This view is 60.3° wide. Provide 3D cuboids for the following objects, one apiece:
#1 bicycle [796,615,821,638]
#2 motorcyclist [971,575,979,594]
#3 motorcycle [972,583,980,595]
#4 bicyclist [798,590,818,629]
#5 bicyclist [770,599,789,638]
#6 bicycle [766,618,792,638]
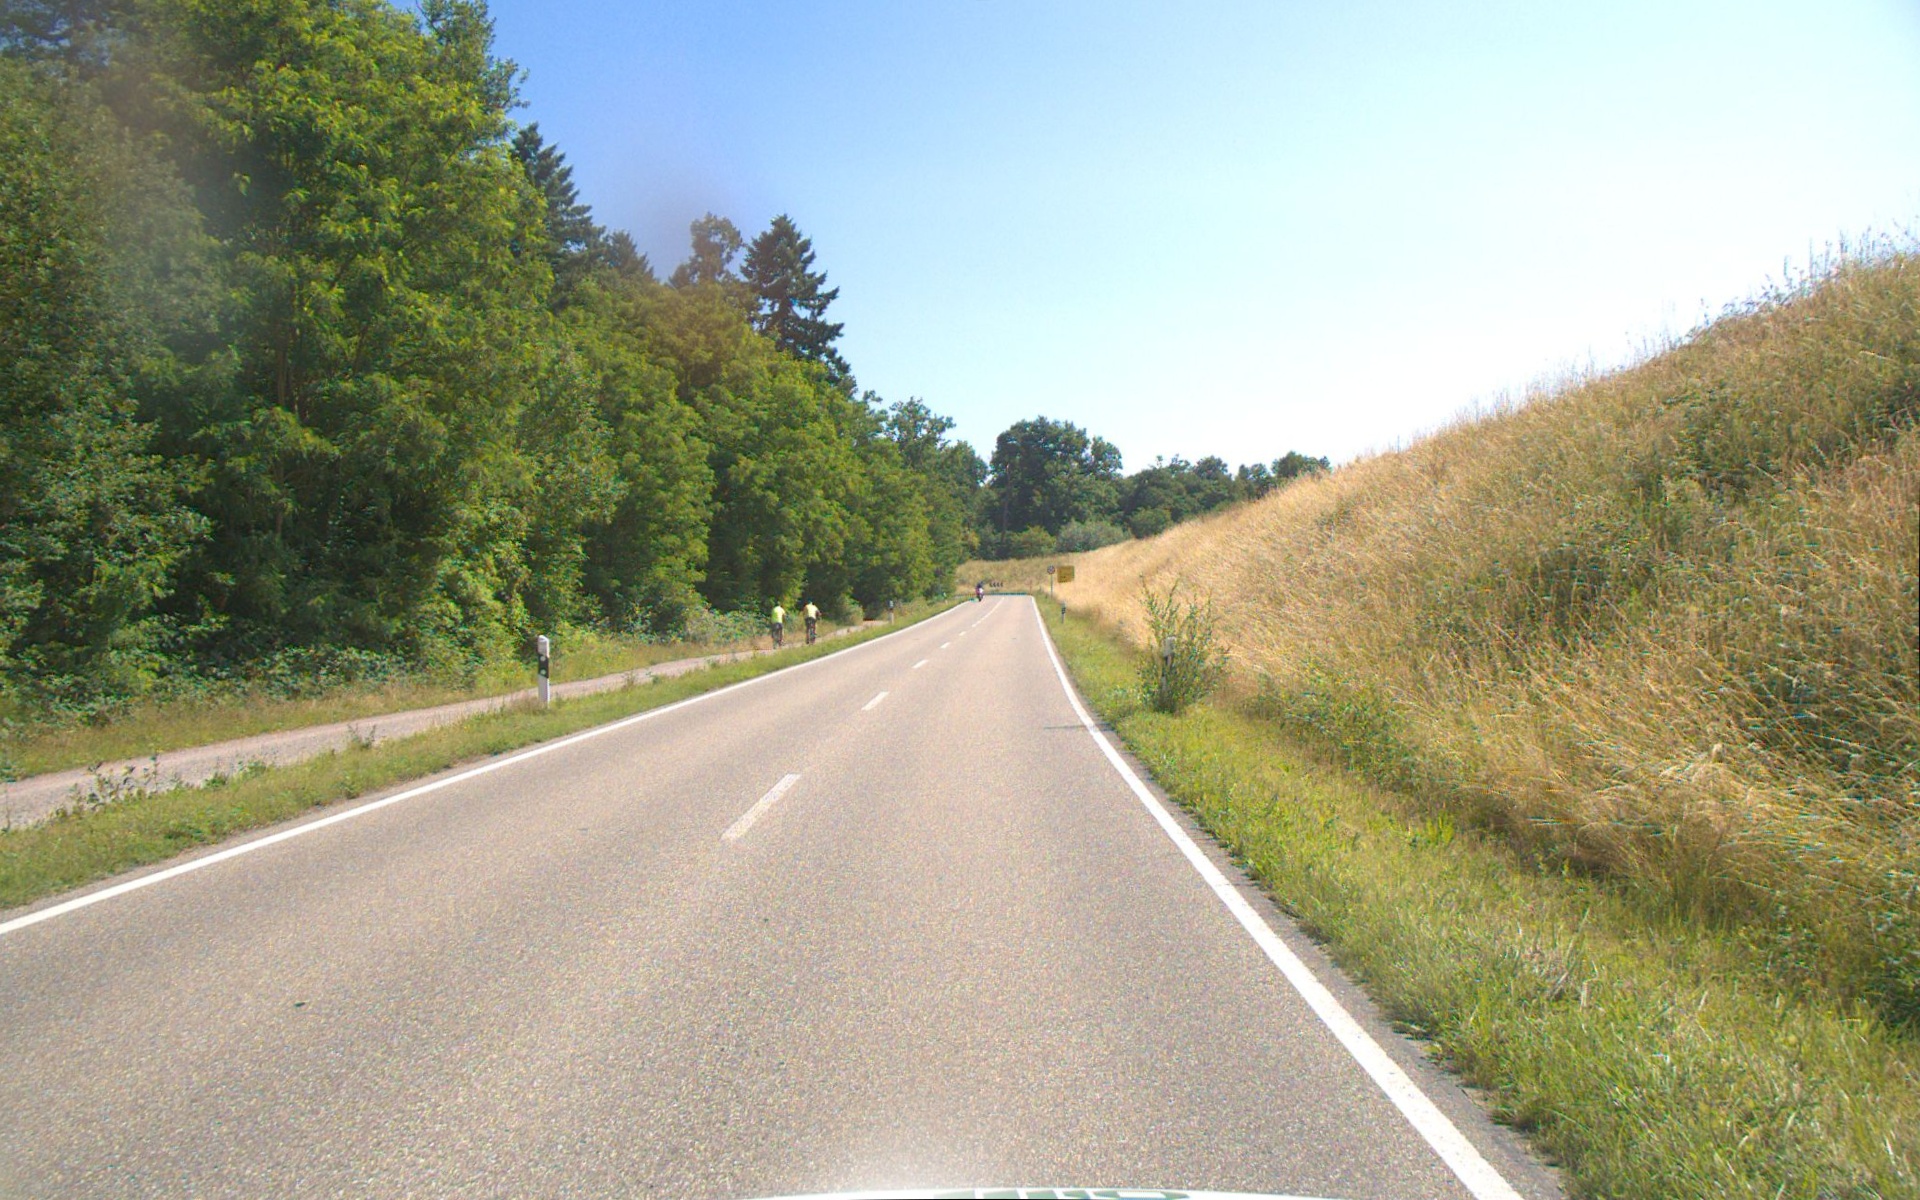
[{"bbox_3d":[-5.669,0.988,62.093,0.627,0.802,2.137,-3,0,2],"label":"bicycle"},{"bbox_3d":[1.303,-1.323,140.118,0.646,1.555,0.814,-2,0,1],"label":"motorcyclist"},{"bbox_3d":[1.332,-0.929,139.815,0.625,1.002,2.007,-3,0,2],"label":"motorcycle"},{"bbox_3d":[-5.690,0.354,62.044,0.592,1.440,0.703,-2,0,2],"label":"bicyclist"},{"bbox_3d":[-6.819,0.713,62.499,0.592,1.440,0.703,1,-2,2],"label":"bicyclist"},{"bbox_3d":[-6.824,1.042,62.422,0.606,0.693,2.137,-3,0,2],"label":"bicycle"}]
